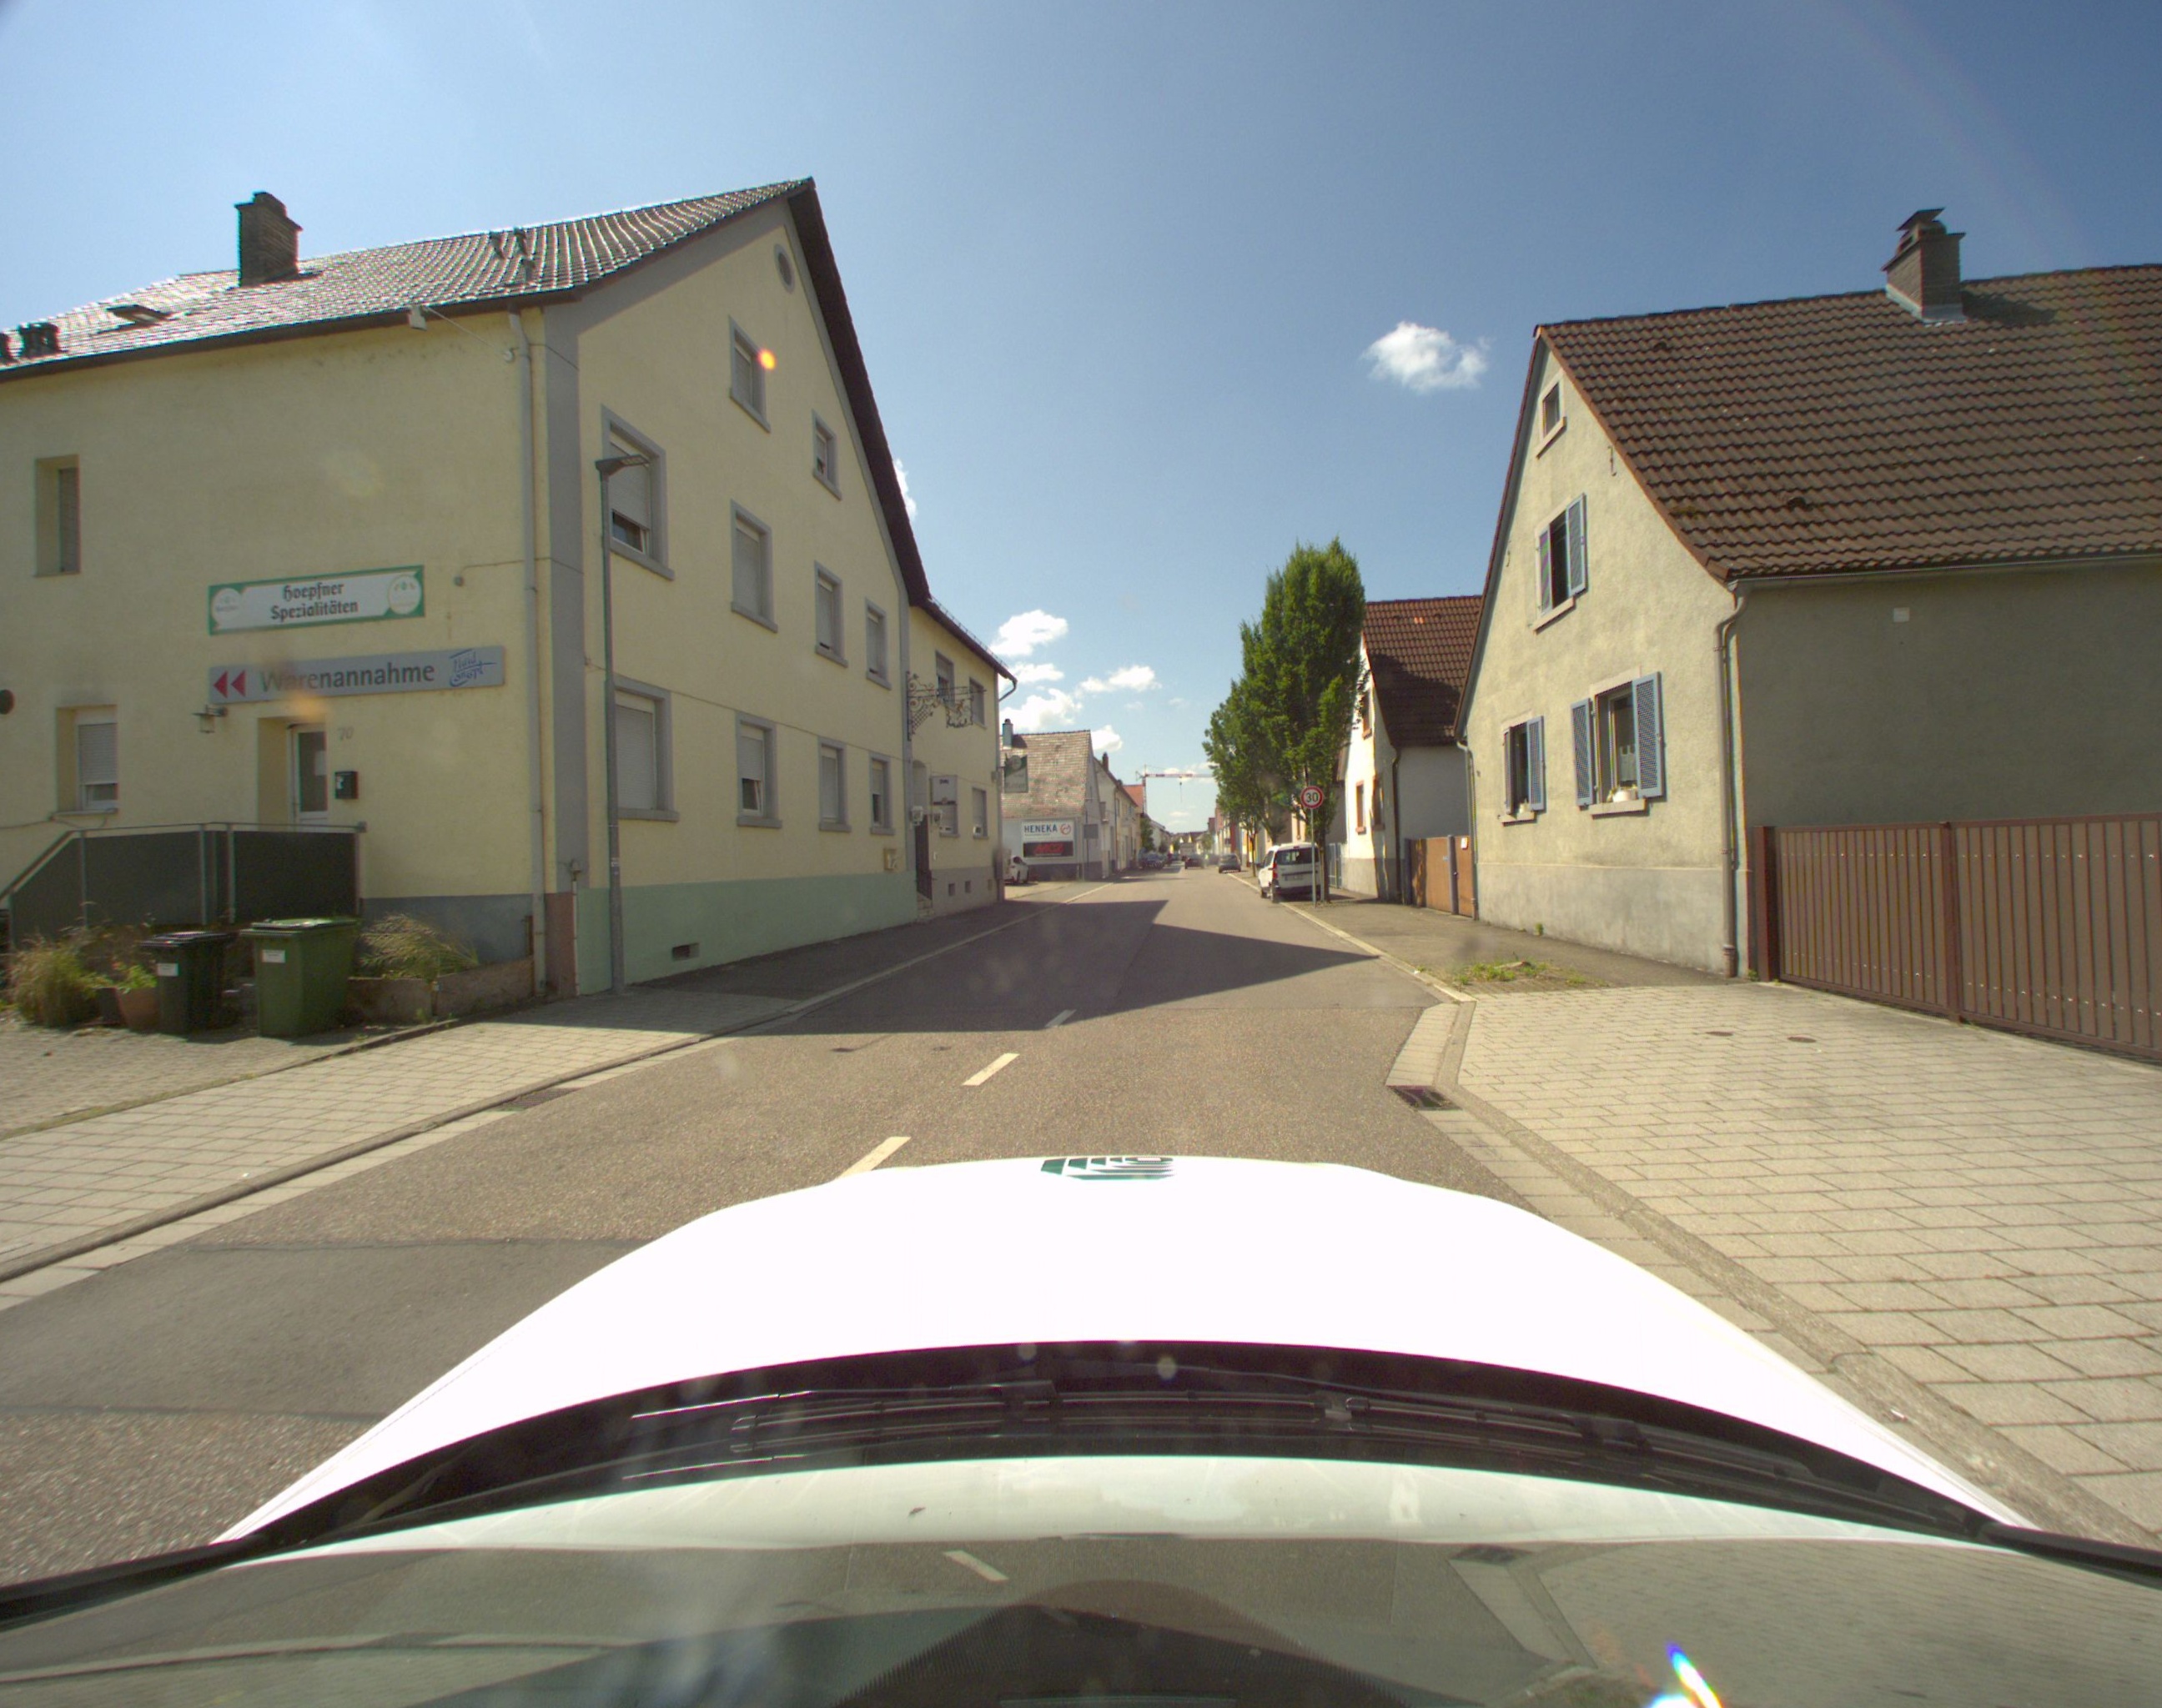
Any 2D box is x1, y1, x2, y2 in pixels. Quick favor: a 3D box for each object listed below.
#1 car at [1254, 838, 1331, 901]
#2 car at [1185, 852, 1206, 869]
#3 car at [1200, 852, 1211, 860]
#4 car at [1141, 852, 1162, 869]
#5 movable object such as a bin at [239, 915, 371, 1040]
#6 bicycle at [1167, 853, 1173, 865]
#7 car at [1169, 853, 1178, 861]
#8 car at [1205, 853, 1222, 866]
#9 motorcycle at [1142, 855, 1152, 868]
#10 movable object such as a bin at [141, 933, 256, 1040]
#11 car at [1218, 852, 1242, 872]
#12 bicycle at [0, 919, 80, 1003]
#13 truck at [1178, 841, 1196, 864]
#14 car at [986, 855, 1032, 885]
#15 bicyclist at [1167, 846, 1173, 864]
[{"bbox_3d":[6.783,0.452,26.478,1.711,1.790,4.150,-3,0,6],"label":"car"},{"bbox_3d":[11.137,0.579,79.224,1.891,1.563,4.487,-1,0,8],"label":"car"},{"bbox_3d":[21.427,0.366,140.174,1.710,1.268,4.165,-1,0,7],"label":"car"},{"bbox_3d":[6.799,0.621,78.082,1.800,1.589,4.007,-1,0,7],"label":"car"},{"bbox_3d":[-7.394,1.158,7.780,0.596,1.078,0.660,-2,0,9],"label":"movable object such as a bin"},{"bbox_3d":[10.701,0.600,98.009,0.747,1.308,2.690,0,0,7],"label":"bicycle"},{"bbox_3d":[19.634,0.651,172.716,1.799,1.589,4.008,-1,0,7],"label":"car"},{"bbox_3d":[14.817,0.556,91.132,1.710,1.355,4.165,-1,0,7],"label":"car"},{"bbox_3d":[6.000,0.700,74.194,0.842,1.170,2.473,0,0,6],"label":"motorcycle"},{"bbox_3d":[-8.422,1.252,7.789,0.476,0.928,0.548,-2,0,9],"label":"movable object such as a bin"},{"bbox_3d":[11.473,0.613,63.014,1.709,1.461,4.167,-1,0,9],"label":"car"},{"bbox_3d":[-13.290,1.296,9.843,2.155,0.913,0.544,-3,0,12],"label":"bicycle"},{"bbox_3d":[20.257,-0.308,155.082,3.127,4.250,9.324,0,0,9],"label":"truck"},{"bbox_3d":[-3.885,0.824,44.396,1.711,1.556,4.205,0,0,6],"label":"car"},{"bbox_3d":[10.692,0.124,97.949,0.736,2.059,0.846,0,-1,6],"label":"bicyclist"}]
